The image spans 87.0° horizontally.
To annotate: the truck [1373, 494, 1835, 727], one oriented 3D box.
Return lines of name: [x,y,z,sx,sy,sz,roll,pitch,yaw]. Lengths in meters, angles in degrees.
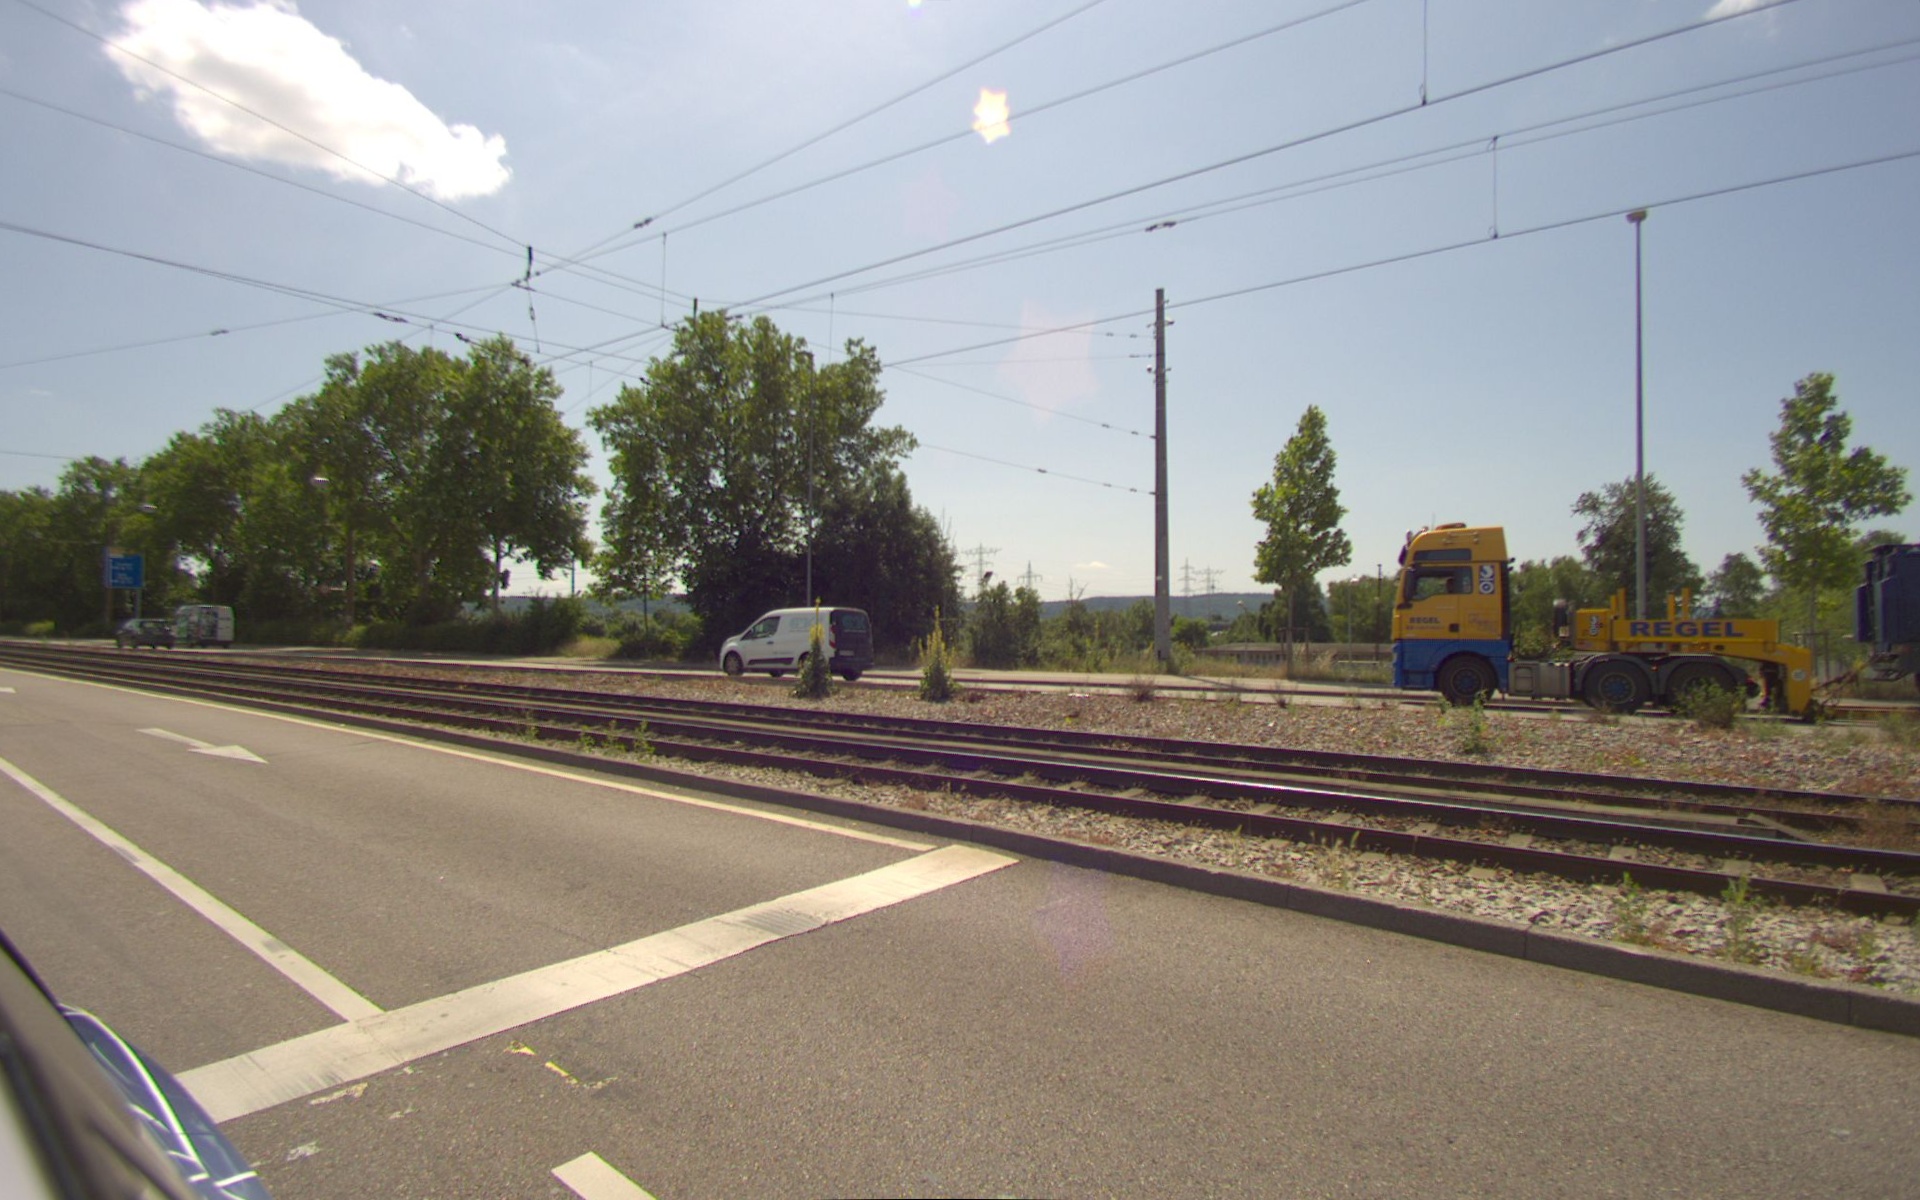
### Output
truck: [12.733,0.267,20.861,7.445,4.069,3.104,-1,-1,30]

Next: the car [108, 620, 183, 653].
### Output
car: [-44.230,1.983,54.938,4.254,1.649,1.977,-1,-4,34]

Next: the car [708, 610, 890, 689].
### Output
car: [-4.149,1.257,25.911,4.419,1.852,1.978,-2,-2,33]

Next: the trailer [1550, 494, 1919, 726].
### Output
trailer: [18.990,0.137,17.167,15.425,3.900,3.092,-1,-1,31]

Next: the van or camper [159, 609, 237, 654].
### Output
van or camper: [-45.925,1.884,60.938,5.831,2.606,1.976,-1,-3,35]
